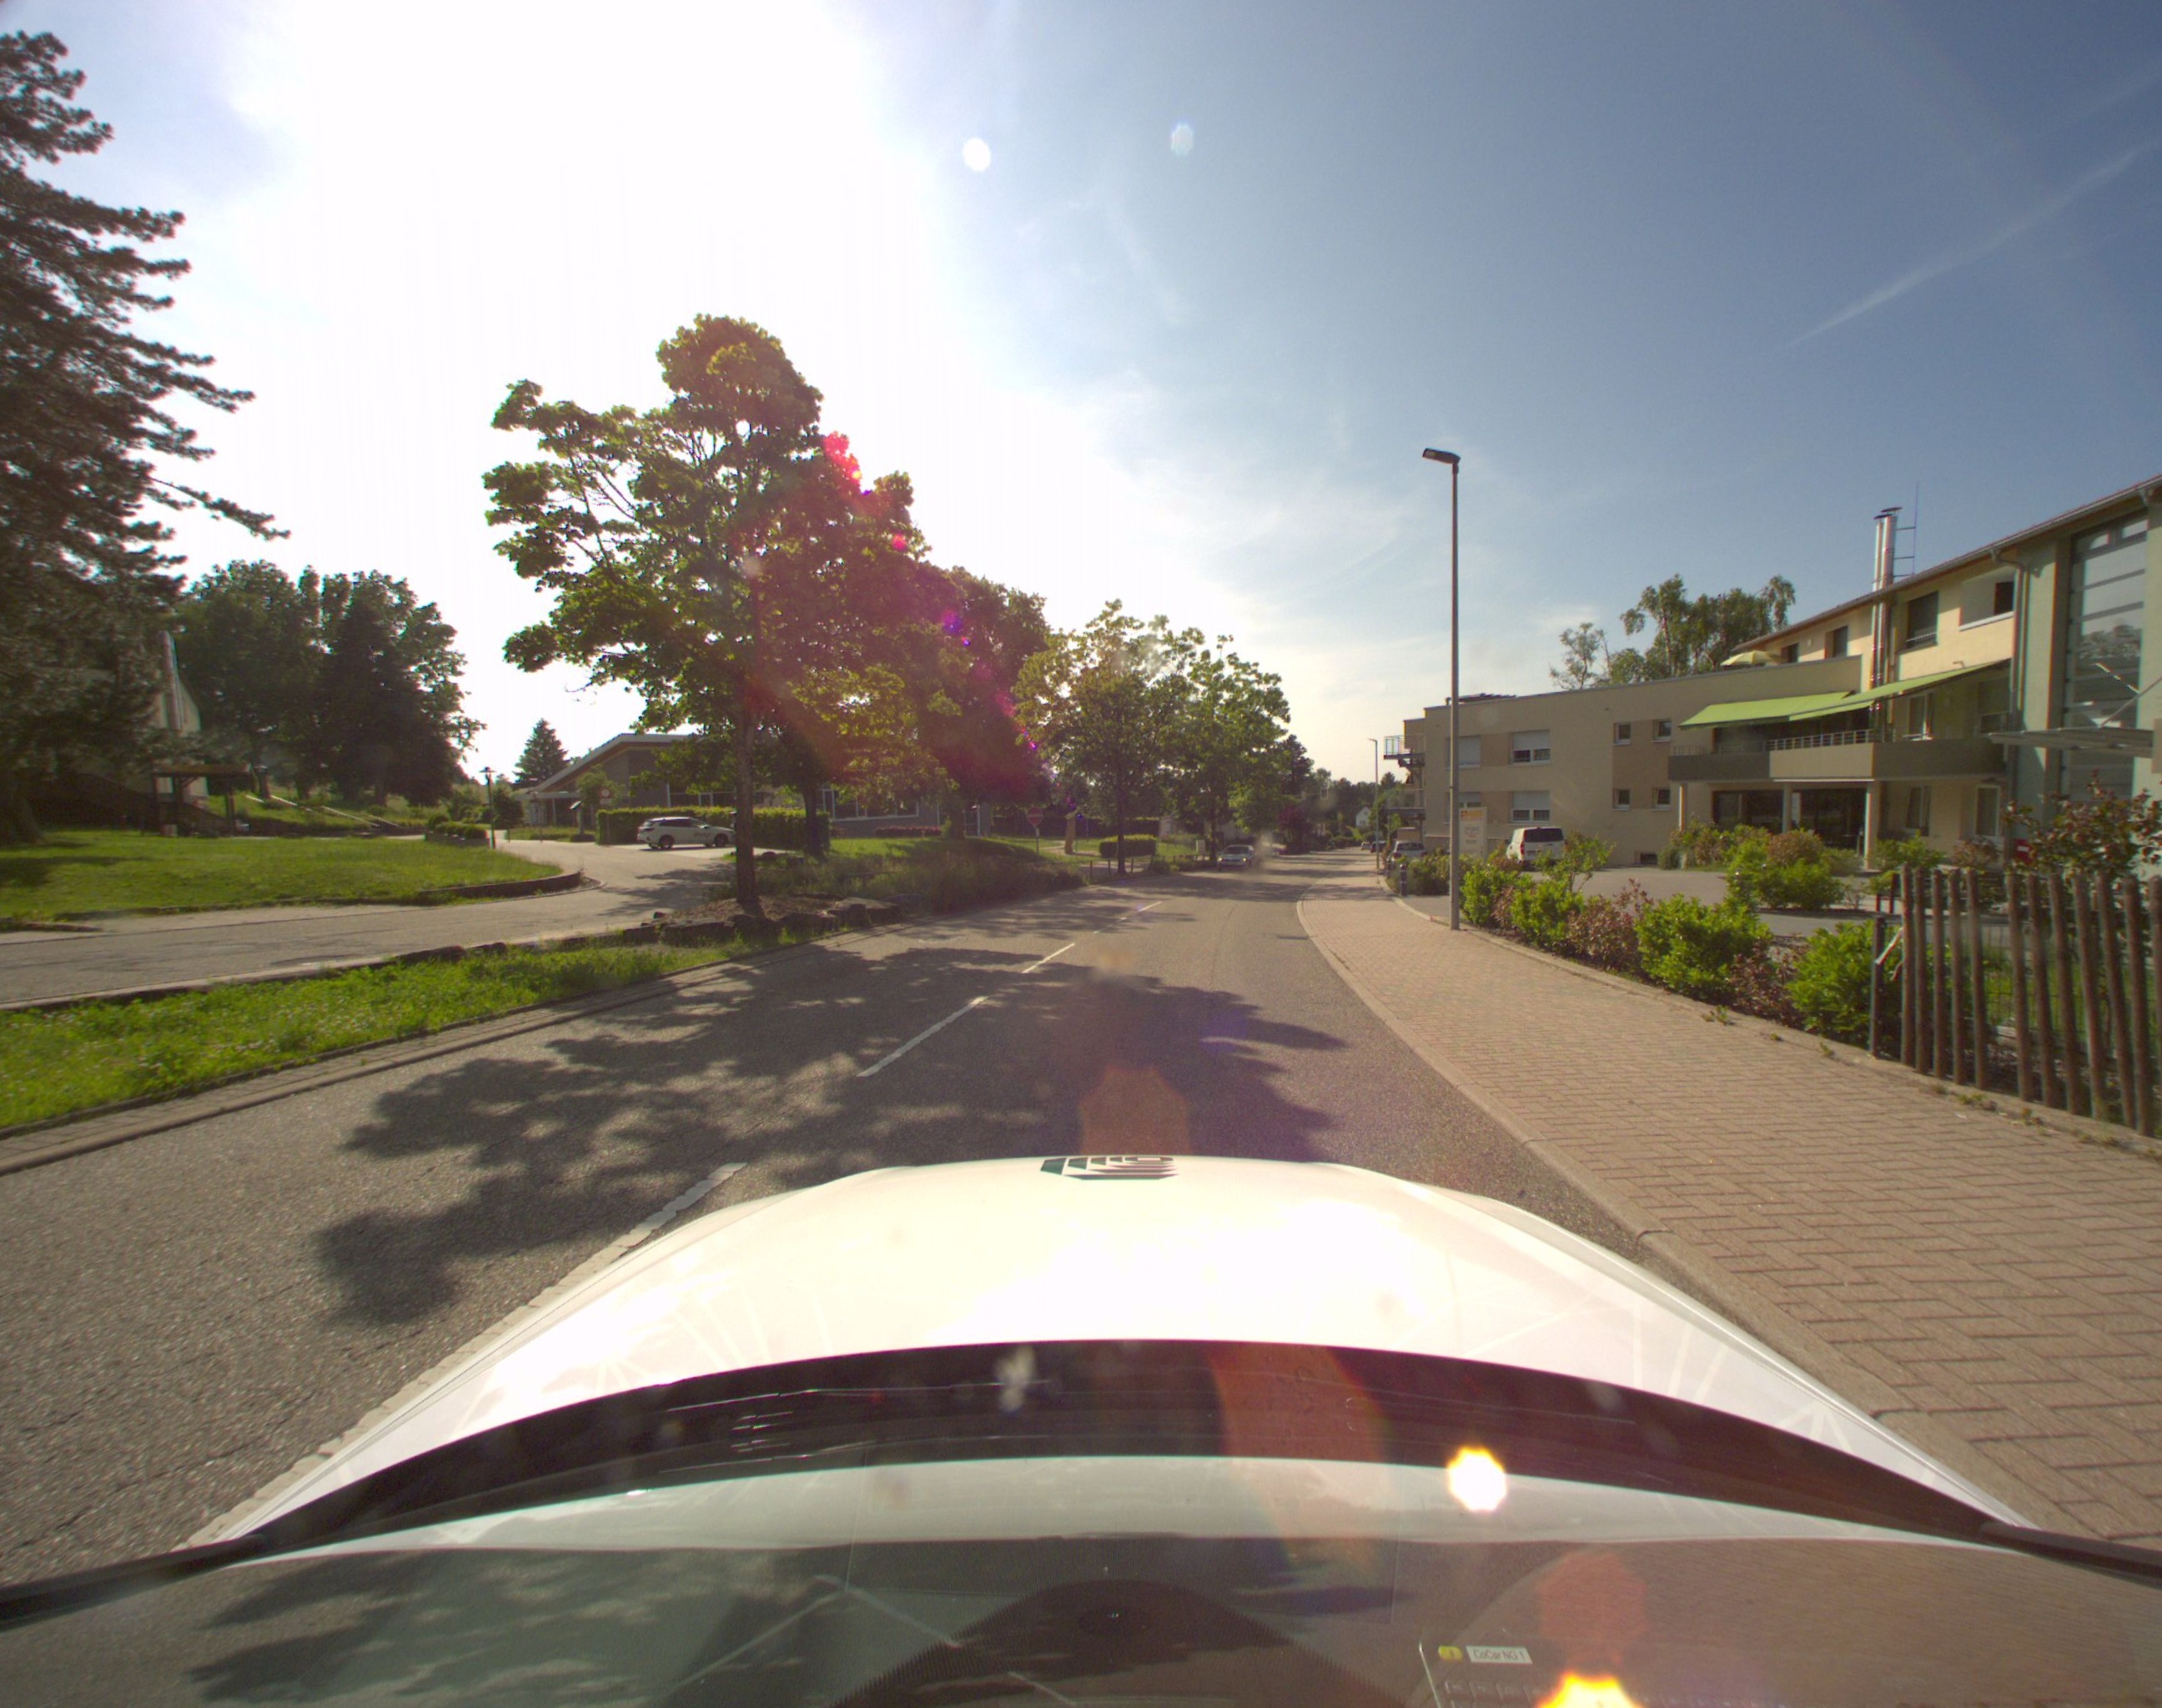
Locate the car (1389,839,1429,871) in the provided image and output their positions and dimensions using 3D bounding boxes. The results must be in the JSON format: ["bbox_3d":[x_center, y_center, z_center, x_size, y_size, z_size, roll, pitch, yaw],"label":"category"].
[{"bbox_3d":[16.792,0.027,41.856,1.694,1.535,4.027,-1,1,19],"label":"car"}]

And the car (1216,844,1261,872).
[{"bbox_3d":[8.839,0.168,45.457,1.714,1.443,4.087,1,1,22],"label":"car"}]

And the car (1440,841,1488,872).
[{"bbox_3d":[18.771,0.078,40.049,1.694,1.427,4.027,-1,1,19],"label":"car"}]

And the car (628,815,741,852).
[{"bbox_3d":[-20.071,-1.103,41.365,1.976,1.533,4.759,6,8,44],"label":"car"}]

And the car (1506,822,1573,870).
[{"bbox_3d":[20.172,-0.355,36.018,1.788,1.935,4.758,-1,0,19],"label":"car"}]

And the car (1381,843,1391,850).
[{"bbox_3d":[60.611,-1.520,162.011,1.694,1.427,4.027,-1,1,19],"label":"car"}]

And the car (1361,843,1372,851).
[{"bbox_3d":[56.783,-1.416,161.974,1.693,1.427,4.029,-1,1,23],"label":"car"}]

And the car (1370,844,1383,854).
[{"bbox_3d":[44.455,-0.768,122.504,1.694,1.427,4.027,-1,1,19],"label":"car"}]
